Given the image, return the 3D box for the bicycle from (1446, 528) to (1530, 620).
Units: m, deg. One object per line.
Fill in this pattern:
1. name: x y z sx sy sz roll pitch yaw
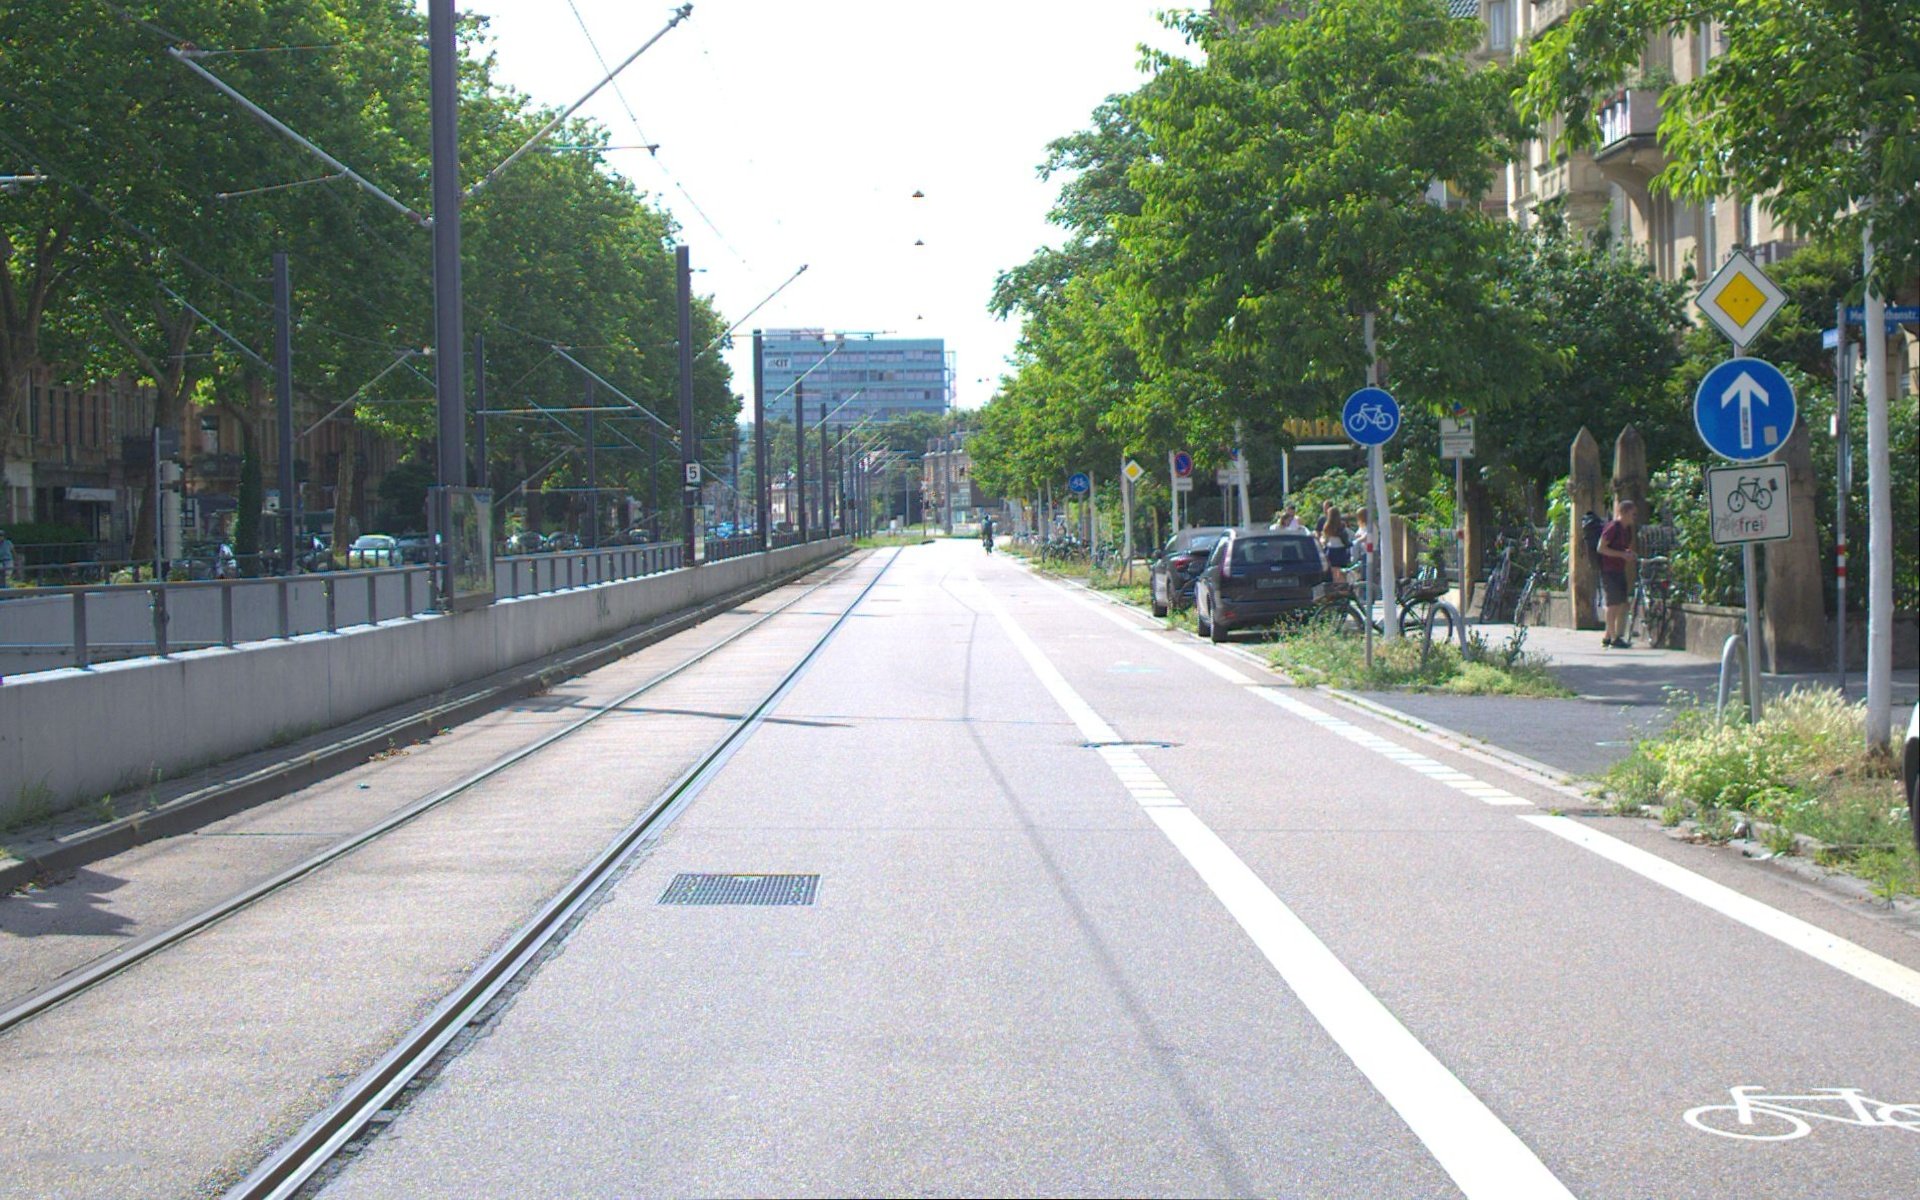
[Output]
1. bicycle: 7.617 -0.394 49.705 0.657 1.244 2.943 -4 1 0

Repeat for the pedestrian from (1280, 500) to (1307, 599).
1. pedestrian: 5.866 -0.888 60.463 0.318 1.701 0.460 -3 2 14

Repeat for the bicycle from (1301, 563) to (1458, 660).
1. bicycle: 4.797 0.124 39.372 1.705 1.065 0.471 -1 1 -6

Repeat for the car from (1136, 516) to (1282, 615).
1. car: 4.186 -0.619 58.467 1.798 1.521 4.490 -3 2 -4

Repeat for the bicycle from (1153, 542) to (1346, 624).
1. bicycle: 4.628 -0.282 54.954 2.945 1.242 0.793 -1 1 -13

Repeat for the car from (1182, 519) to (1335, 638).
1. car: 4.156 -0.343 48.451 1.686 1.497 4.708 -3 2 0

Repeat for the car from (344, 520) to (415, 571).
1. car: -21.426 -2.015 127.015 1.839 1.722 4.000 -3 2 0

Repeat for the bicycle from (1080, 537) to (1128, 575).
1. bicycle: 4.146 -1.265 99.417 0.649 1.035 1.822 -4 2 -22

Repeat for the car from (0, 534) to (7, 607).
1. car: -20.318 -0.497 68.235 1.643 1.477 4.002 -3 2 -1

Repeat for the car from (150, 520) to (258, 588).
1. car: -20.681 -1.276 94.198 1.718 1.685 3.729 -3 2 6

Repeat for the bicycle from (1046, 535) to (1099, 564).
1. bicycle: 3.994 -1.795 122.165 1.816 0.899 0.604 -3 2 -3

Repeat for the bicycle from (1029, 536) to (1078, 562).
1. bicycle: 3.628 -1.995 133.431 1.816 0.899 0.604 -3 2 -3

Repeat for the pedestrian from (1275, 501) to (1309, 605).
1. pedestrian: 5.878 -0.835 60.943 0.459 1.798 0.319 -3 1 -2

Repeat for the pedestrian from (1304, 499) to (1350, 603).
1. pedestrian: 6.466 -0.865 60.558 0.669 1.798 0.319 -3 1 -2

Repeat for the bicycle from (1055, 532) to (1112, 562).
1. bicycle: 4.205 -1.798 117.228 1.816 0.899 0.652 -3 2 -3

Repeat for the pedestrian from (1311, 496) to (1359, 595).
1. pedestrian: 6.423 -0.931 58.849 0.528 1.670 0.575 -4 2 -19

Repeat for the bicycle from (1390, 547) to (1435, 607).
1. bicycle: 7.478 -0.383 56.839 0.427 0.936 1.807 -4 1 0

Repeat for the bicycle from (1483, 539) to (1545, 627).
1. bicycle: 7.542 -0.246 46.851 0.427 1.136 2.023 -4 1 0

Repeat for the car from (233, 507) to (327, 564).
1. car: -21.505 -2.063 108.818 1.993 1.631 4.000 -3 2 2

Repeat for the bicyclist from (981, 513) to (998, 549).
1. bicyclist: 1.411 -3.288 164.138 0.770 1.724 1.026 -1 1 0

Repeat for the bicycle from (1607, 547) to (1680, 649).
1. bicycle: 7.718 -0.034 38.872 0.470 1.104 1.711 -1 1 0

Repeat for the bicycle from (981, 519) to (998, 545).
1. bicycle: 1.414 -3.252 164.223 0.799 1.232 2.778 -1 1 0

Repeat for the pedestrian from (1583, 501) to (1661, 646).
1. pedestrian: 7.494 -0.304 38.957 0.723 1.623 0.725 -1 1 0
